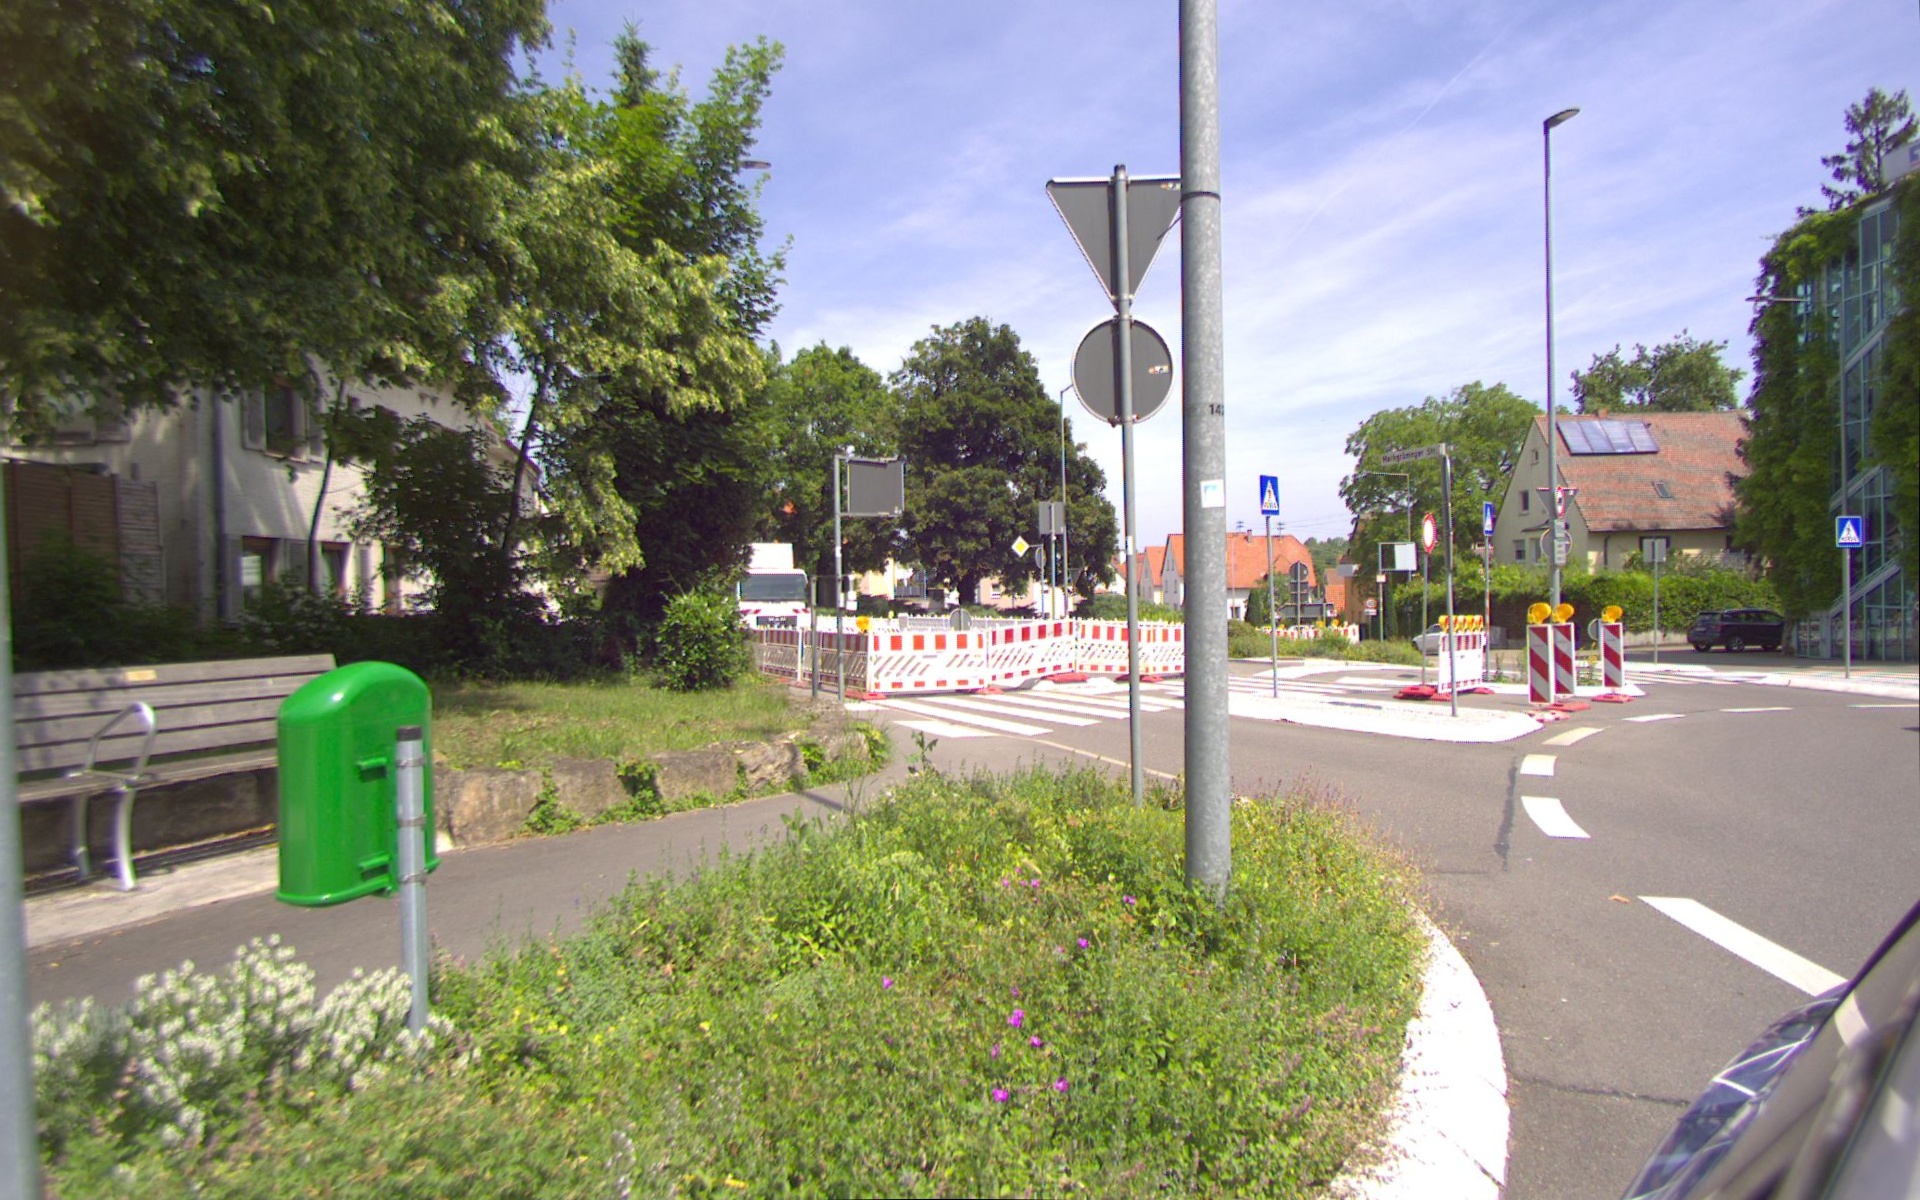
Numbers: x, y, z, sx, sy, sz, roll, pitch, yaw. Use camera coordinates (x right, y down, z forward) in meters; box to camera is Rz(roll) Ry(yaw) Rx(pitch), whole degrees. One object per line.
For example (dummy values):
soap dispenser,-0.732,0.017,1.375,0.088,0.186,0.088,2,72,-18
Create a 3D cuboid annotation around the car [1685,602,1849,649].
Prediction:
car,28.645,0.891,36.047,4.152,1.455,1.861,-2,-1,5
